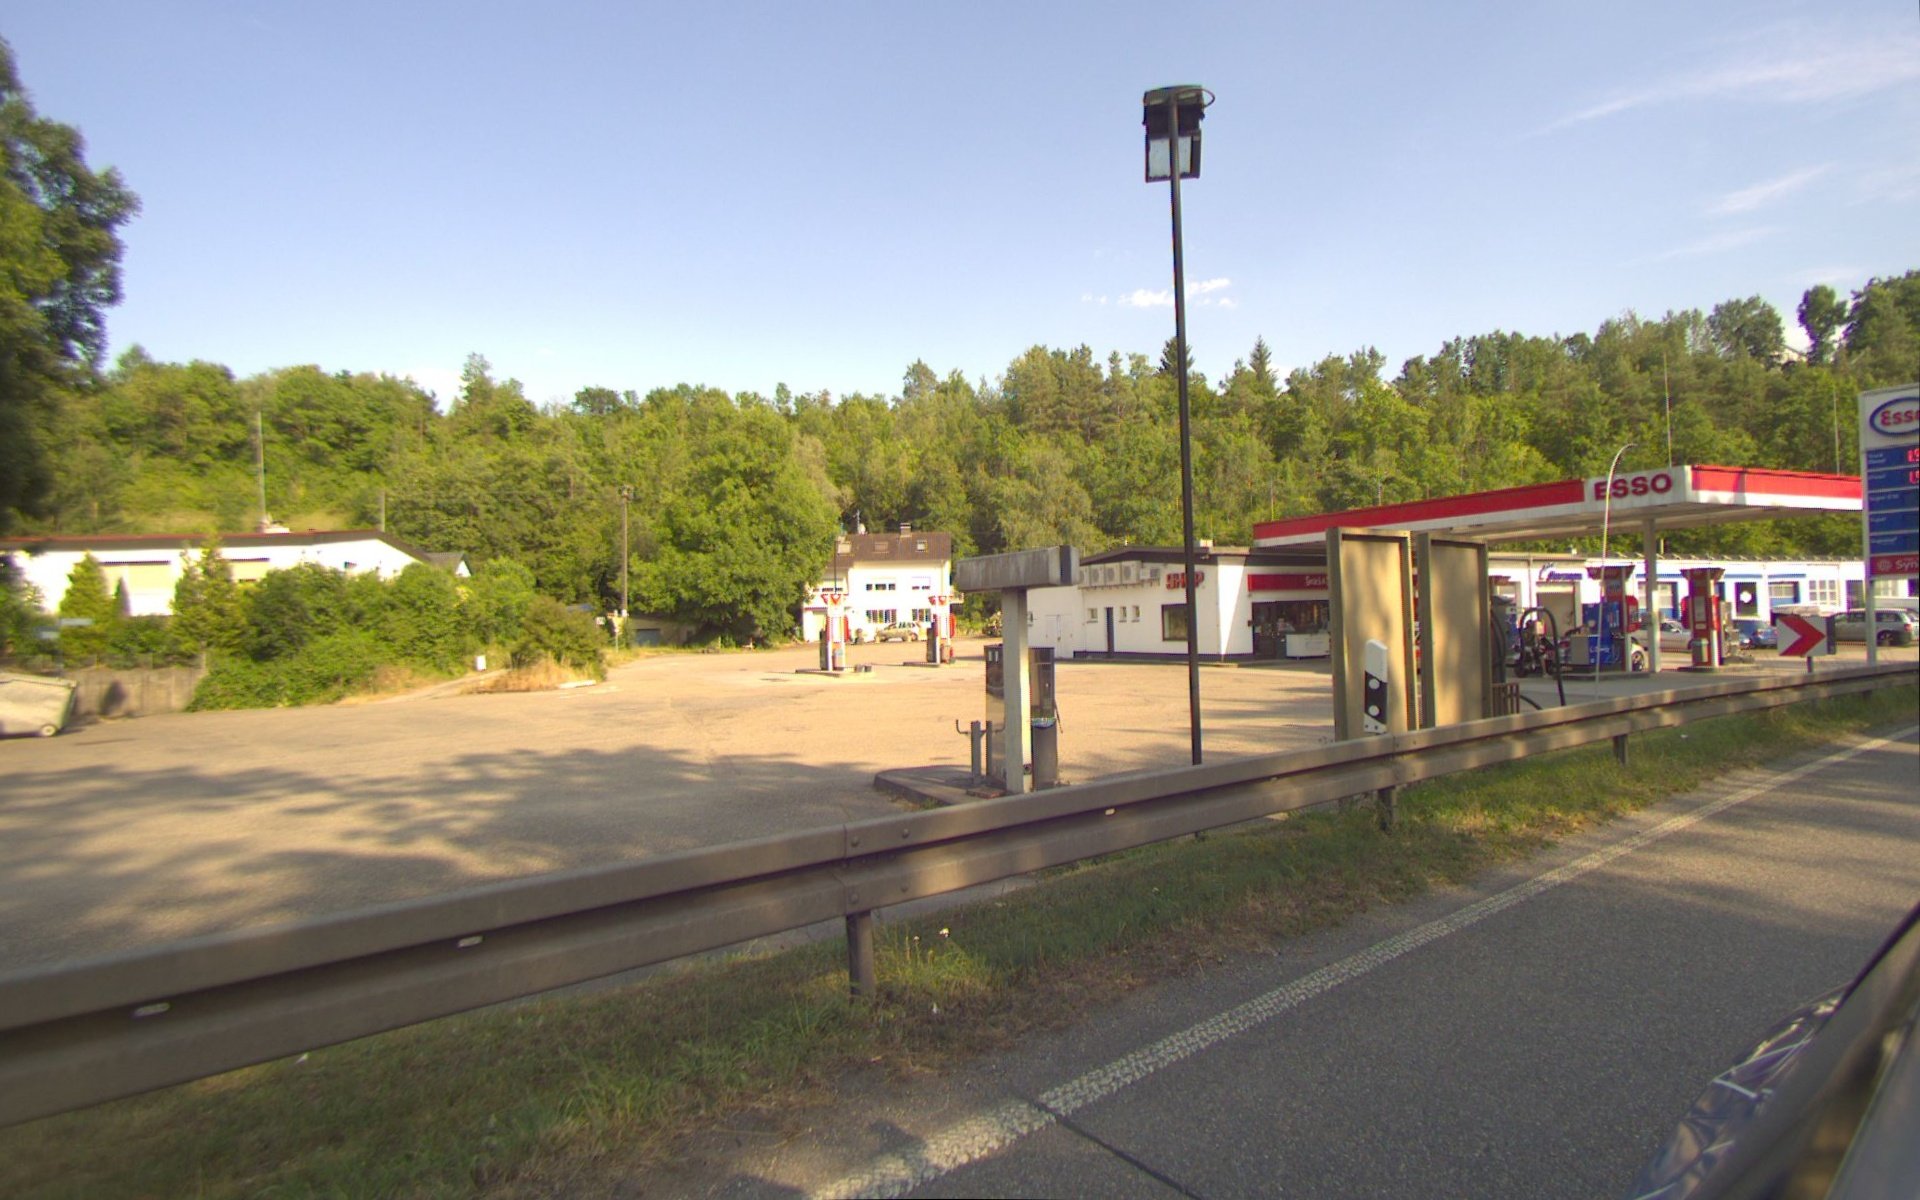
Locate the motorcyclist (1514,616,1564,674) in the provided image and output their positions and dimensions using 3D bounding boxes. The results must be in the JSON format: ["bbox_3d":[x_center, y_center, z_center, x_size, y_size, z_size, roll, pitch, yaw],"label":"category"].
[{"bbox_3d":[16.903,1.298,29.552,0.909,1.625,0.862,0,-2,-27],"label":"motorcyclist"}]

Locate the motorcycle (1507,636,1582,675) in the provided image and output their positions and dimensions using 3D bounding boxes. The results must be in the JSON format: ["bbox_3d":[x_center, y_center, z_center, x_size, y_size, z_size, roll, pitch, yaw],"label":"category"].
[{"bbox_3d":[17.120,1.607,29.645,2.293,1.025,0.765,0,-1,-27],"label":"motorcycle"}]

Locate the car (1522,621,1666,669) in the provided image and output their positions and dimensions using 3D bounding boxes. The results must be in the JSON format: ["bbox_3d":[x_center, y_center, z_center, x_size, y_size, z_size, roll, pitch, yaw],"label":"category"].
[{"bbox_3d":[19.903,1.368,31.752,4.299,1.336,1.851,0,-1,-26],"label":"car"}]

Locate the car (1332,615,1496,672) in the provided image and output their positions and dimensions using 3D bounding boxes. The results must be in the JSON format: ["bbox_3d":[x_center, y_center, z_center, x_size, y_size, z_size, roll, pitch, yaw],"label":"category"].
[{"bbox_3d":[14.570,1.323,32.466,5.074,1.649,2.102,0,-1,-28],"label":"car"}]

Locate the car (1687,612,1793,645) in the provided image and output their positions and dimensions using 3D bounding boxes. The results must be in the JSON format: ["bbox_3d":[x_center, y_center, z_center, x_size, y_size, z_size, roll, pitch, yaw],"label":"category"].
[{"bbox_3d":[36.830,1.304,47.869,1.698,1.464,3.560,0,-1,-26],"label":"car"}]

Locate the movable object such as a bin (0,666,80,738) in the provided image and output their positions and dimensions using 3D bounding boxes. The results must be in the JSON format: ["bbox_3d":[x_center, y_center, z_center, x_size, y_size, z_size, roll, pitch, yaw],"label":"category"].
[{"bbox_3d":[-20.431,2.199,21.560,2.512,1.439,1.267,0,-4,-41],"label":"movable object such as a bin"}]

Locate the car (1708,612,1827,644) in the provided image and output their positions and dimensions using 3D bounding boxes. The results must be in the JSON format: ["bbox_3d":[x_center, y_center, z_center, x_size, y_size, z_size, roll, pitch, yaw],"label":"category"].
[{"bbox_3d":[38.748,1.313,48.690,1.856,1.365,4.087,0,1,-26],"label":"car"}]

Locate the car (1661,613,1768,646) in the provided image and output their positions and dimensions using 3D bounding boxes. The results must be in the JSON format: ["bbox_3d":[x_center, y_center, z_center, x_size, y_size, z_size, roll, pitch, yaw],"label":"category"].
[{"bbox_3d":[34.884,1.321,46.880,1.656,1.424,3.566,0,0,-26],"label":"car"}]

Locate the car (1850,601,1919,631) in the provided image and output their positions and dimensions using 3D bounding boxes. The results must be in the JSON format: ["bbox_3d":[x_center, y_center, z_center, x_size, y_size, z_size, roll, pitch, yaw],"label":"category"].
[{"bbox_3d":[52.783,0.873,56.485,1.856,1.631,4.261,0,0,-26],"label":"car"}]

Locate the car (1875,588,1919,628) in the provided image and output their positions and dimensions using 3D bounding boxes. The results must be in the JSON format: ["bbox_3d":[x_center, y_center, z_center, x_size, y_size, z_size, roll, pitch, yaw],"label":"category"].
[{"bbox_3d":[56.918,0.443,58.557,2.248,2.302,5.500,0,1,-26],"label":"car"}]

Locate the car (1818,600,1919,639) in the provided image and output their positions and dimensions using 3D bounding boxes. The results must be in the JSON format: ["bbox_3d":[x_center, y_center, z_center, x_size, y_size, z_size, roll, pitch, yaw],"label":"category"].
[{"bbox_3d":[46.322,0.940,51.016,1.854,1.750,4.267,0,2,-29],"label":"car"}]

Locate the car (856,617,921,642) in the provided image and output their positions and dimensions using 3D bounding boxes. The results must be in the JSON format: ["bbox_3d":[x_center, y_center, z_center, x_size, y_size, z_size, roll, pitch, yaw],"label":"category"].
[{"bbox_3d":[-5.738,2.364,81.455,5.068,1.860,2.701,-1,-1,0],"label":"car"}]

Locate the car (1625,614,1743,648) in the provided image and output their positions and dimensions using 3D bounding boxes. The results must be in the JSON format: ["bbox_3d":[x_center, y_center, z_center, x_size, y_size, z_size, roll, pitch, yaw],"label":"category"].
[{"bbox_3d":[32.646,1.354,45.733,1.741,1.371,3.973,0,1,-30],"label":"car"}]
